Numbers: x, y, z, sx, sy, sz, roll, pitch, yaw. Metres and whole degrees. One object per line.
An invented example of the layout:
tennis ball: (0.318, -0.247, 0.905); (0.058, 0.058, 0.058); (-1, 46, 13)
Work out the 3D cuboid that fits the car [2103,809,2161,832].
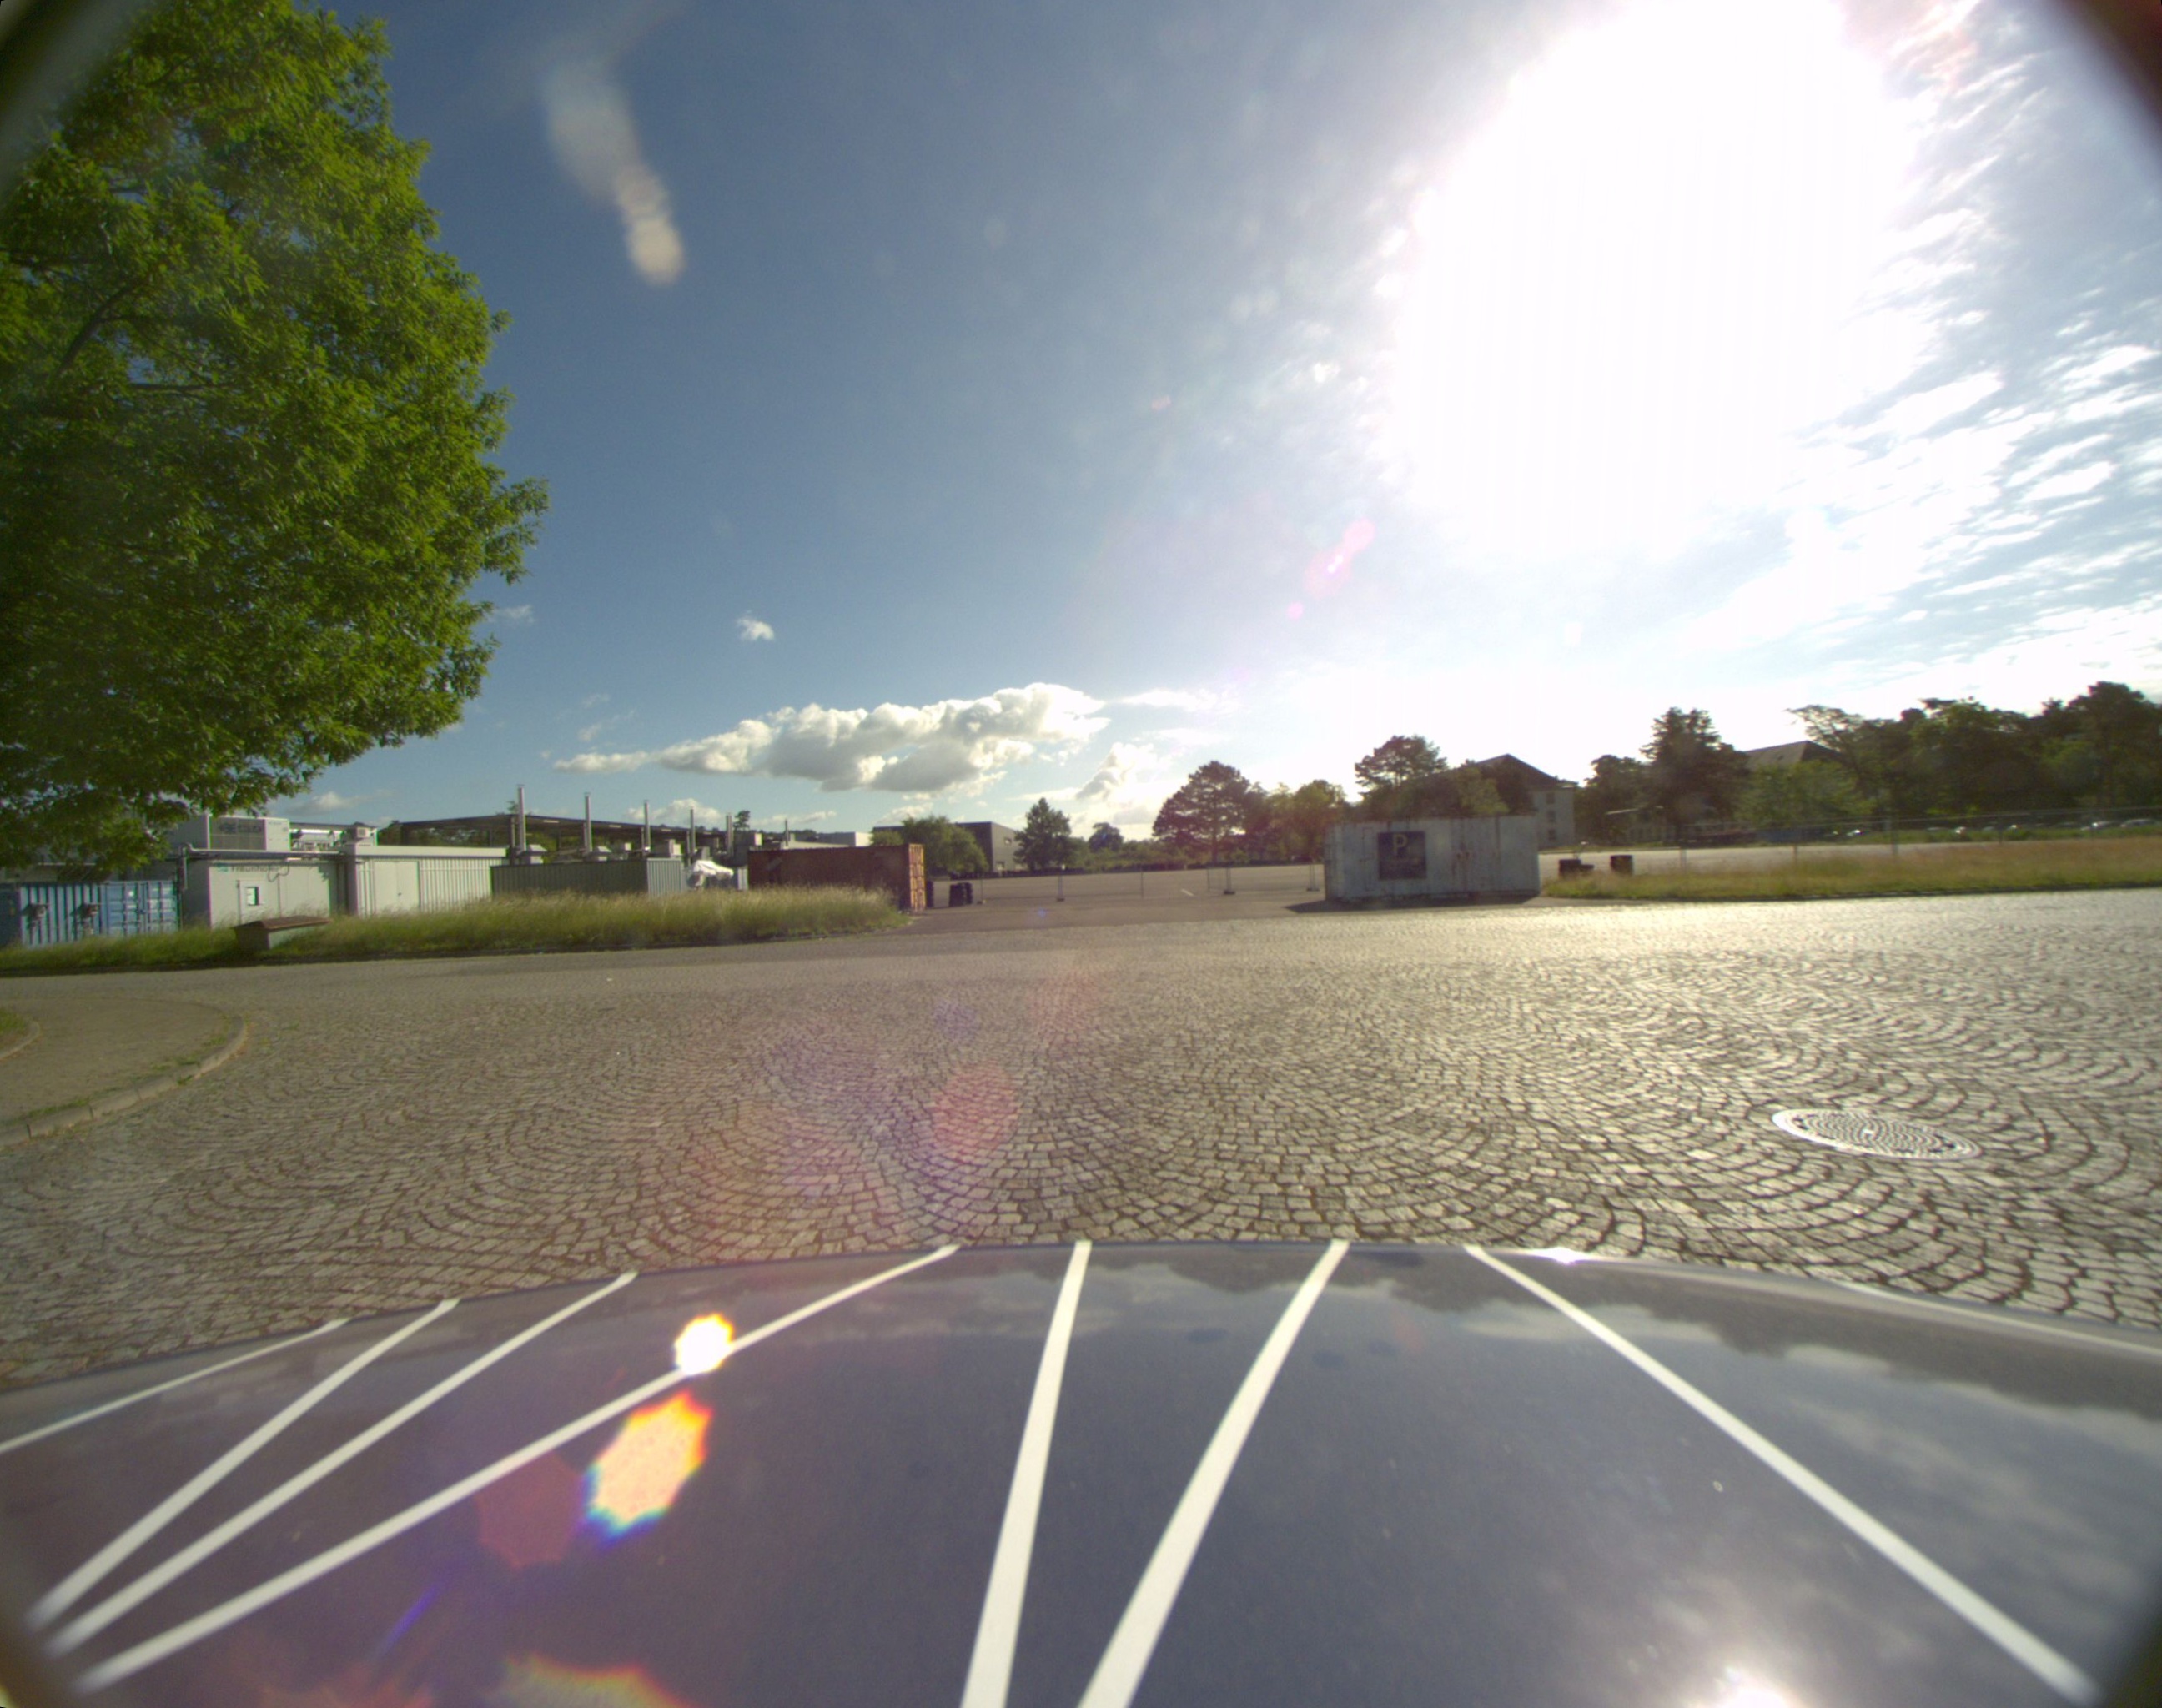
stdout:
car: (106.070, -3.357, 76.123); (3.994, 2.000, 2.002); (-3, -3, 9)
